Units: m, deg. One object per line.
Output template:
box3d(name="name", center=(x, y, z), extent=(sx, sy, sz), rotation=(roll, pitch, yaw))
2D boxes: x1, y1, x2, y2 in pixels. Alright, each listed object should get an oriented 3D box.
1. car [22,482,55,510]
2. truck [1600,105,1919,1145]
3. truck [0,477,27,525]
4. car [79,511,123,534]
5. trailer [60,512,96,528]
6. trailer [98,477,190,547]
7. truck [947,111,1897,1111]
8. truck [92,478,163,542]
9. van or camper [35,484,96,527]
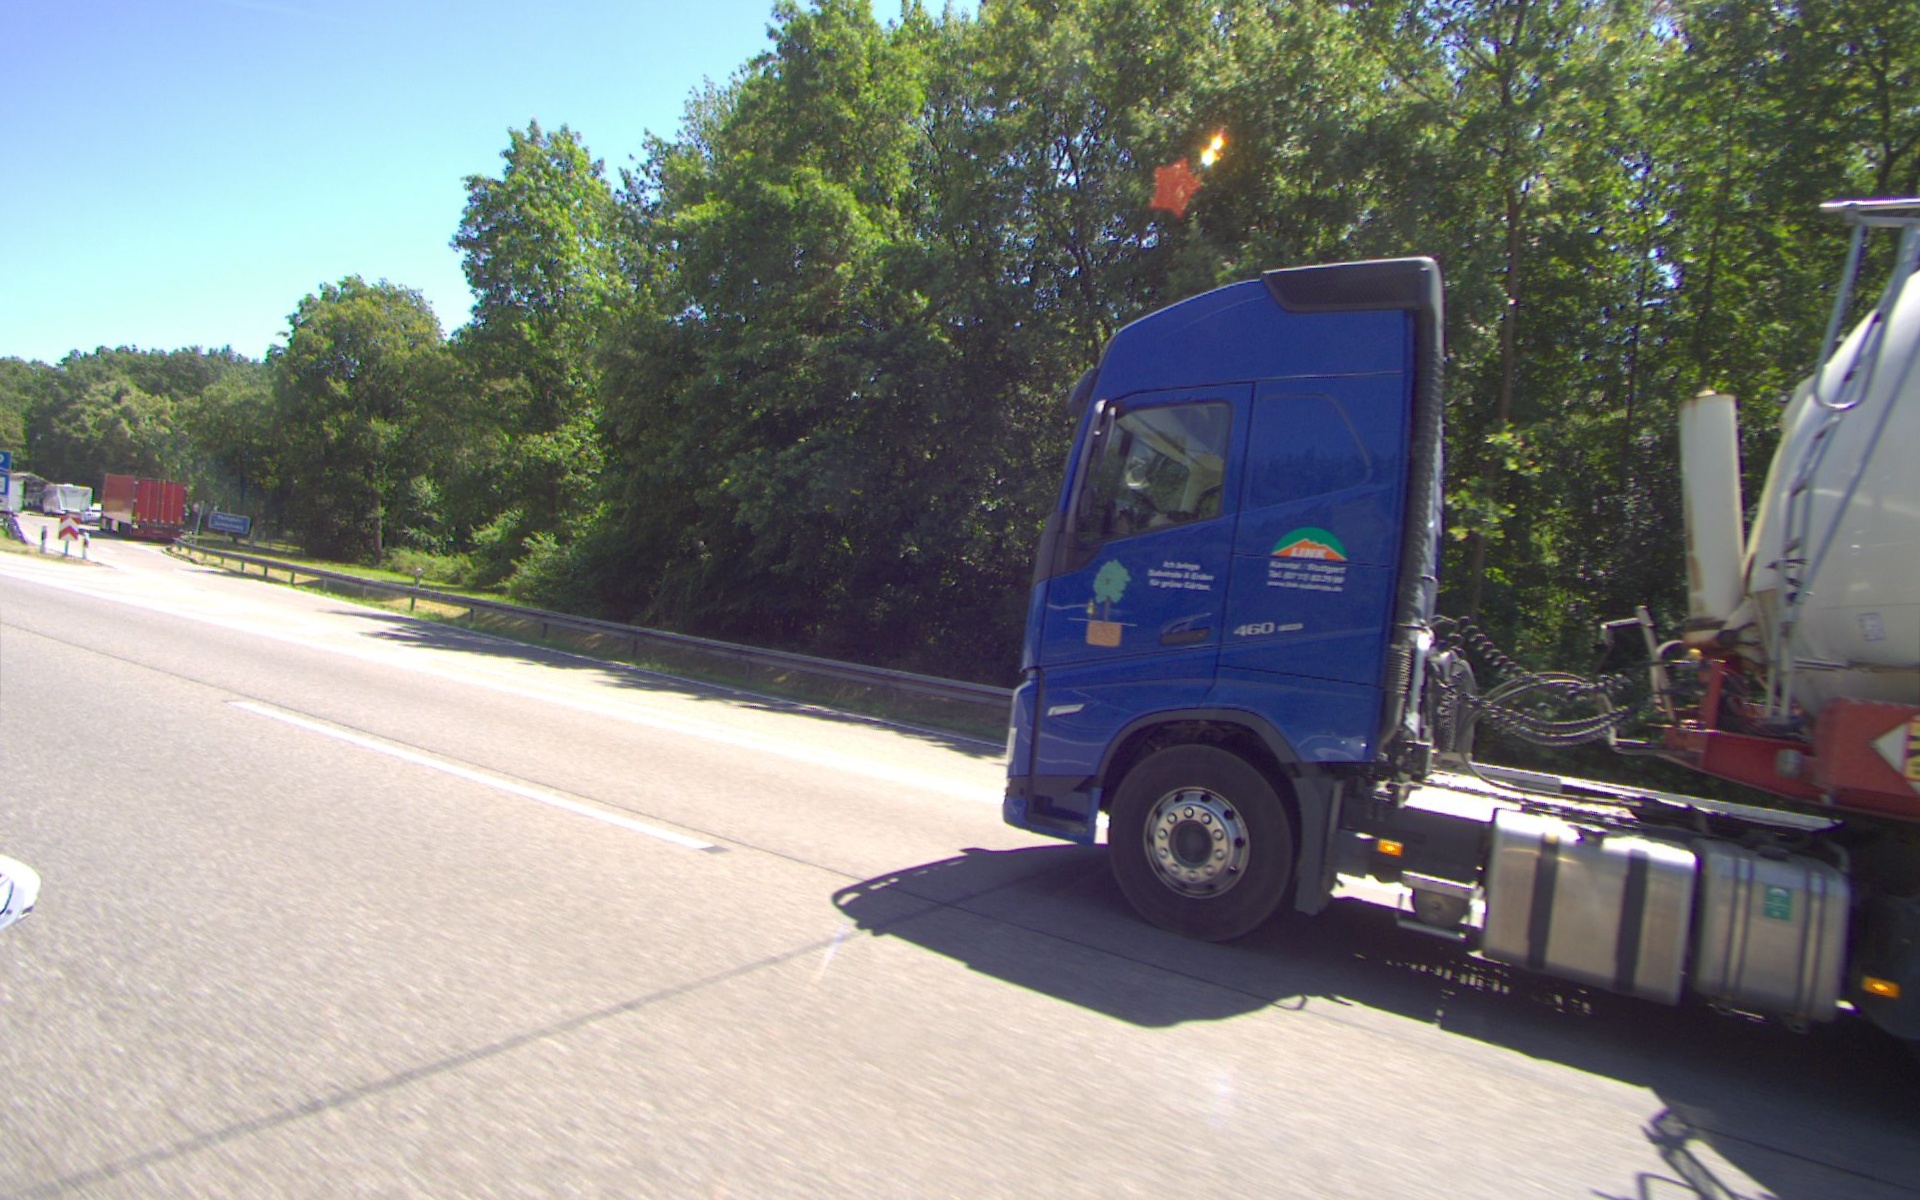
box3d(name="car", center=(-91.992, -10.394, 100.441), extent=(4.717, 2.469, 1.989), rotation=(6, 0, 44))
box3d(name="truck", center=(8.142, 0.572, 2.723), extent=(10.366, 4.091, 2.447), rotation=(6, -1, 31))
box3d(name="truck", center=(-67.251, -7.034, 69.360), extent=(7.537, 2.981, 2.471), rotation=(6, -1, 34))
box3d(name="car", center=(-69.740, -6.289, 81.656), extent=(4.964, 1.469, 1.991), rotation=(6, -1, 41))
box3d(name="trailer", center=(-75.260, -6.815, 85.818), extent=(3.944, 0.970, 1.773), rotation=(6, -1, 41))
box3d(name="trailer", center=(-54.493, -5.897, 67.014), extent=(12.718, 3.925, 2.973), rotation=(6, -1, 44))
box3d(name="truck", center=(2.484, -0.033, 6.177), extent=(4.003, 4.085, 2.454), rotation=(6, -1, 31))
box3d(name="truck", center=(-59.722, -6.478, 72.120), extent=(6.333, 3.929, 2.972), rotation=(7, 0, 44))
box3d(name="van or camper", center=(-81.120, -8.583, 91.184), extent=(6.900, 3.274, 2.996), rotation=(6, -1, 40))
